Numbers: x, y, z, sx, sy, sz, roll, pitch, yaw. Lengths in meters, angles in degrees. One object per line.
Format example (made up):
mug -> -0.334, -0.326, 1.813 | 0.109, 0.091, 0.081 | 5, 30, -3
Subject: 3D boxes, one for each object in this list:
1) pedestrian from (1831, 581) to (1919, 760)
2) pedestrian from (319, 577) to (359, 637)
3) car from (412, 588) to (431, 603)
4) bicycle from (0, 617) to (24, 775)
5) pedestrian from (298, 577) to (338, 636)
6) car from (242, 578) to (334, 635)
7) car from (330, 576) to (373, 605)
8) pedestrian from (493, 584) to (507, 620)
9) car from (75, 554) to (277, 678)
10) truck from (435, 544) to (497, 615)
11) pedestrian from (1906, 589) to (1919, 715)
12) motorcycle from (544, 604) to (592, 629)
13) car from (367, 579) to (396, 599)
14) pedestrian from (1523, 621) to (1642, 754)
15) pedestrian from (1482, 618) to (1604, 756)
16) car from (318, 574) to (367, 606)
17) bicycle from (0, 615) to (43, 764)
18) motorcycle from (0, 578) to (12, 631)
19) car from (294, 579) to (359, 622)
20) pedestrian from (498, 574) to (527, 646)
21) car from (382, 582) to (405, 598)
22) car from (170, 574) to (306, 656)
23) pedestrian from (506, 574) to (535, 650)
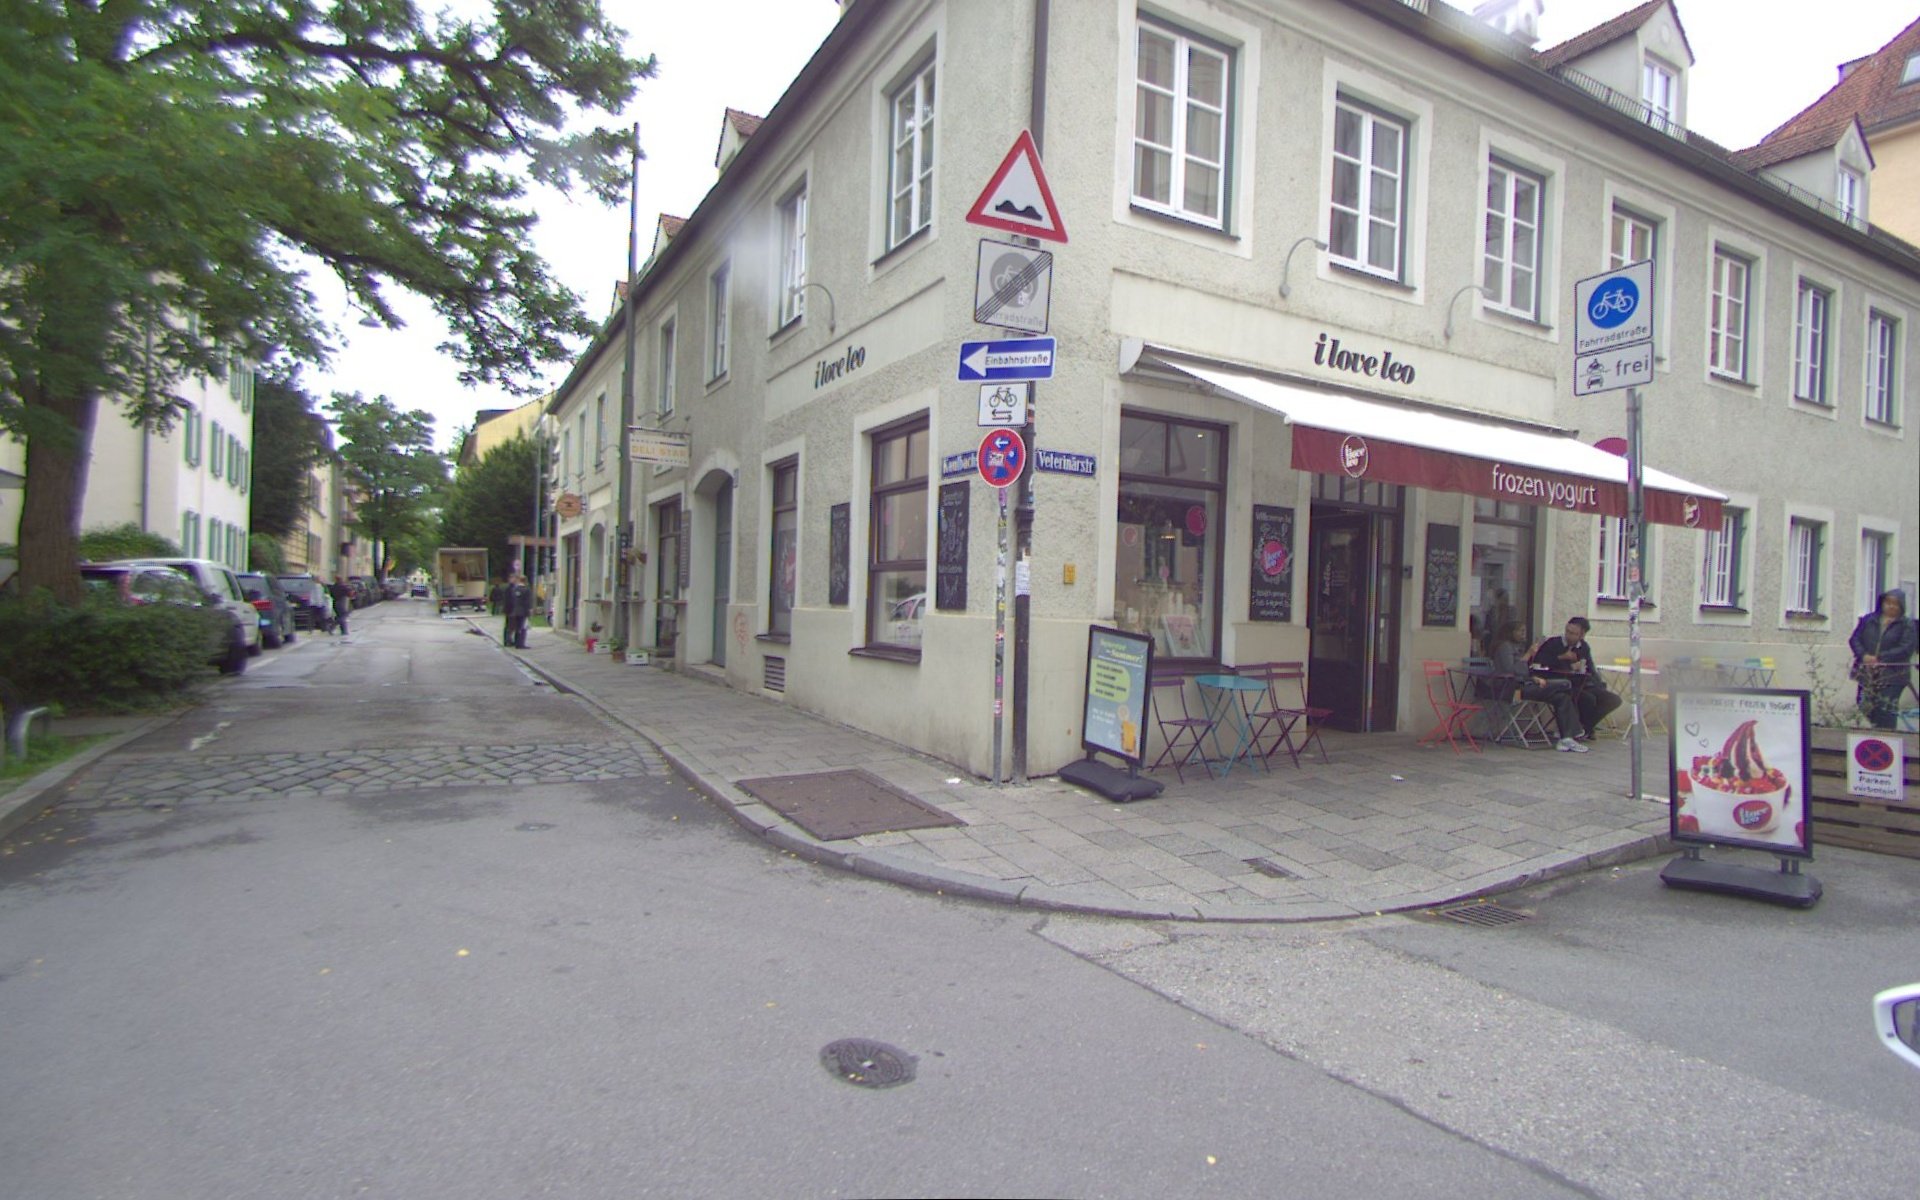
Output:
pedestrian -> 9.755, 0.730, 10.615 | 0.867, 1.805, 0.526 | 3, -1, -29
pedestrian -> -17.151, 0.208, 27.744 | 0.563, 1.618, 0.682 | 2, -1, 15
car -> -61.576, -0.553, 114.937 | 1.752, 1.617, 4.139 | -2, 1, -26
bicycle -> -6.850, 0.579, 6.051 | 1.698, 0.978, 0.377 | 3, 1, -33
pedestrian -> -17.825, 0.180, 27.890 | 0.563, 1.603, 0.682 | 2, -1, 15
car -> -20.614, 0.159, 30.976 | 1.752, 1.617, 4.139 | -2, 1, -26
car -> -35.610, -0.551, 58.884 | 1.752, 1.617, 4.139 | -2, 1, -26
pedestrian -> -23.116, 0.105, 50.433 | 0.550, 1.752, 0.527 | 3, -1, -28
car -> -13.642, 0.207, 17.787 | 1.882, 1.870, 4.432 | -2, 1, -26
truck -> -25.086, -0.967, 50.940 | 2.548, 3.237, 6.691 | 3, -1, -27
pedestrian -> 15.150, 0.819, 15.315 | 0.818, 1.923, 0.819 | 3, -1, -30
motorcycle -> -14.721, 0.624, 37.714 | 1.618, 0.885, 0.410 | 3, -1, -31
car -> -47.768, -0.917, 82.986 | 1.752, 1.617, 4.139 | -2, 1, -26
pedestrian -> 6.506, 0.890, 10.520 | 0.685, 1.307, 0.800 | 3, -1, -28
pedestrian -> 5.887, 0.861, 10.161 | 0.685, 1.307, 0.800 | 3, -1, -28
car -> -32.638, -0.547, 53.150 | 1.752, 1.617, 4.139 | -2, 1, -26
bicycle -> -7.106, 0.572, 6.472 | 1.698, 0.978, 0.377 | 3, 1, -33
motorcycle -> -20.328, 0.107, 20.813 | 0.456, 1.099, 1.833 | 3, 1, -27
car -> -25.870, -0.009, 41.148 | 1.752, 1.617, 4.139 | -2, 1, -26
pedestrian -> -11.075, 0.257, 24.871 | 0.524, 1.752, 0.552 | 3, -1, -31
car -> -57.454, -1.022, 101.990 | 1.752, 1.617, 4.139 | -2, 1, -26
car -> -16.035, 0.277, 22.514 | 1.752, 1.617, 4.139 | -2, 1, -26
pedestrian -> -10.657, 0.299, 24.342 | 0.524, 1.810, 0.487 | 3, -1, -31
